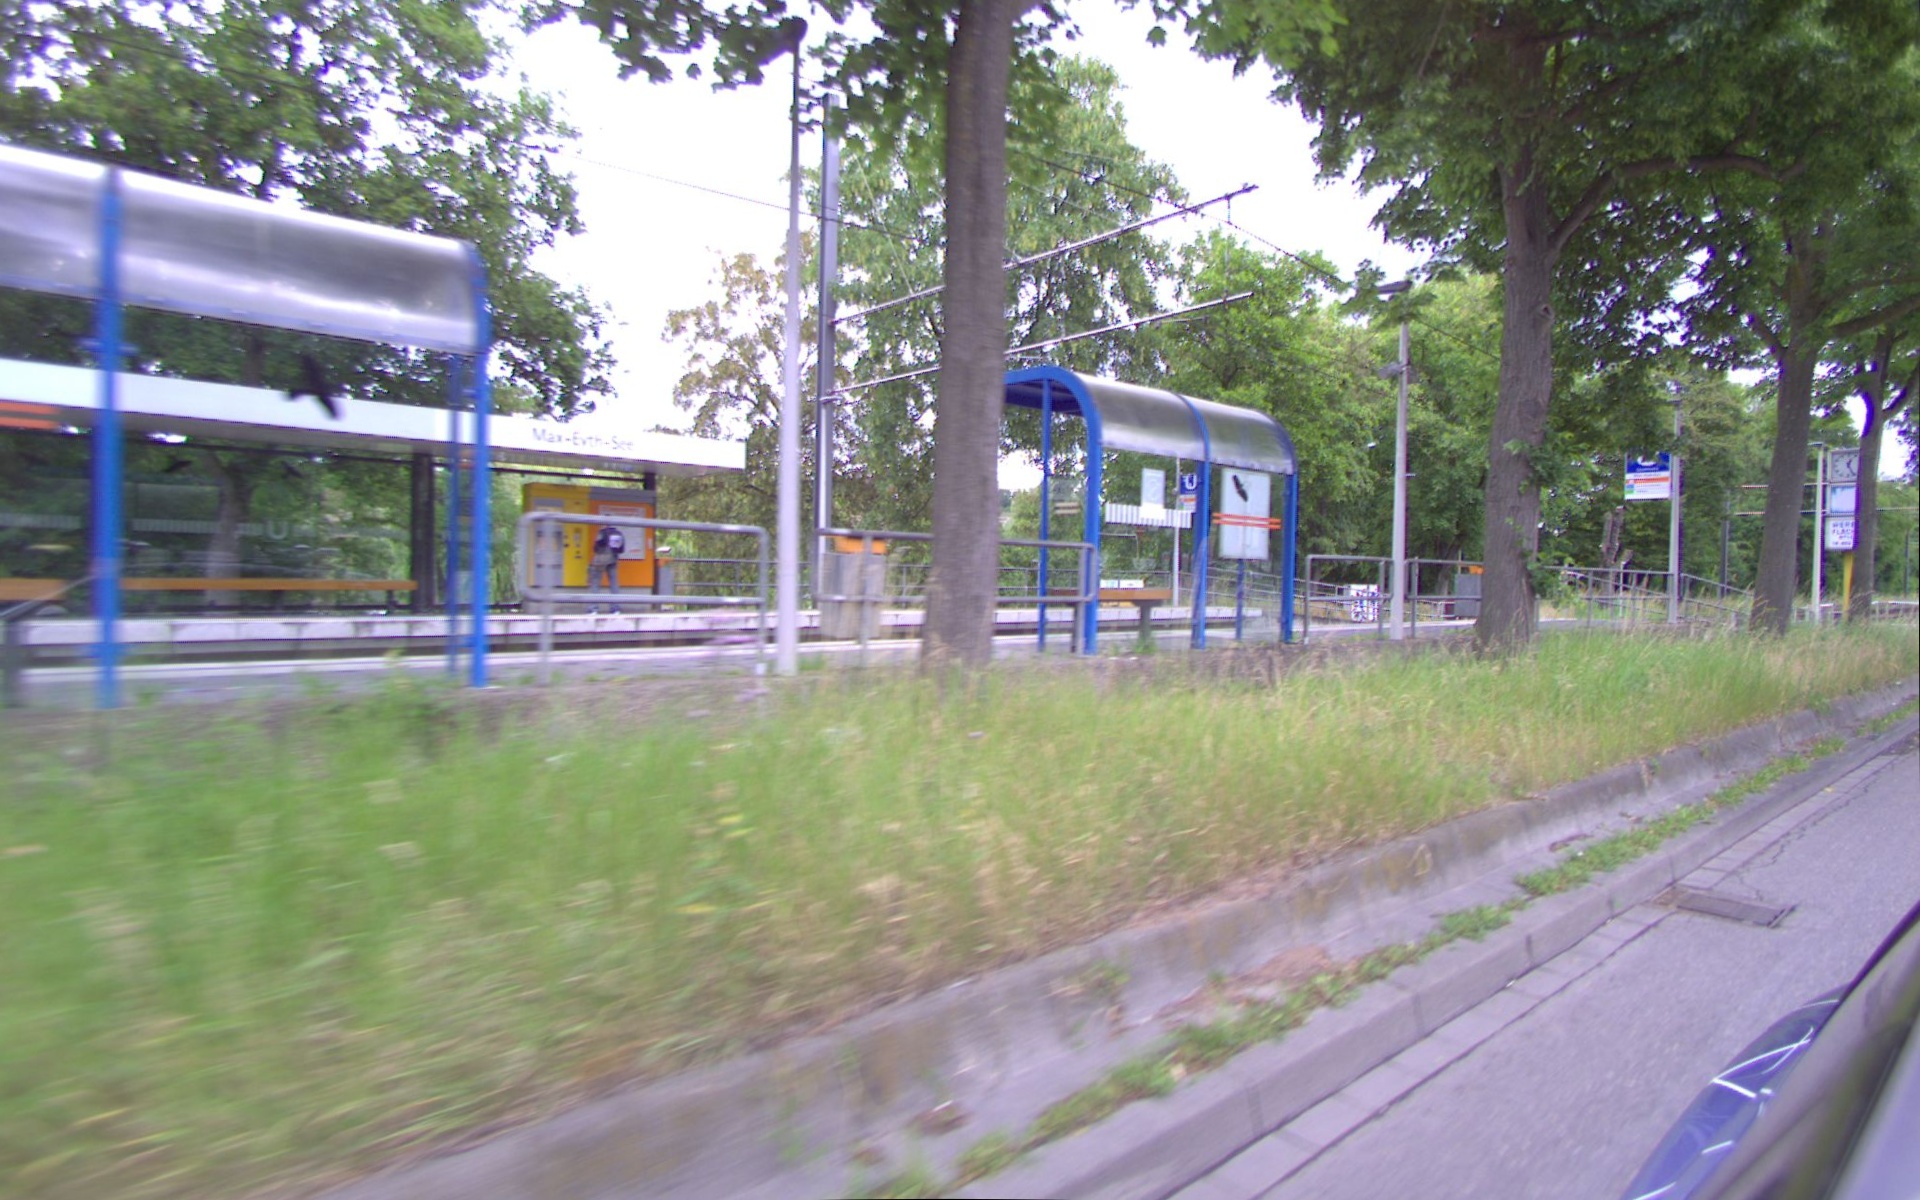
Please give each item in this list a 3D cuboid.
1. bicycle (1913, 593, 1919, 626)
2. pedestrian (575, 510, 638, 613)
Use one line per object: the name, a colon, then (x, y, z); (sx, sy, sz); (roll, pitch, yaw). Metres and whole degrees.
bicycle: (33.104, 0.381, 33.852); (0.592, 1.103, 1.677); (-1, 4, -43)
pedestrian: (-5.440, -0.577, 15.570); (0.710, 1.530, 0.720); (-1, 0, -37)
